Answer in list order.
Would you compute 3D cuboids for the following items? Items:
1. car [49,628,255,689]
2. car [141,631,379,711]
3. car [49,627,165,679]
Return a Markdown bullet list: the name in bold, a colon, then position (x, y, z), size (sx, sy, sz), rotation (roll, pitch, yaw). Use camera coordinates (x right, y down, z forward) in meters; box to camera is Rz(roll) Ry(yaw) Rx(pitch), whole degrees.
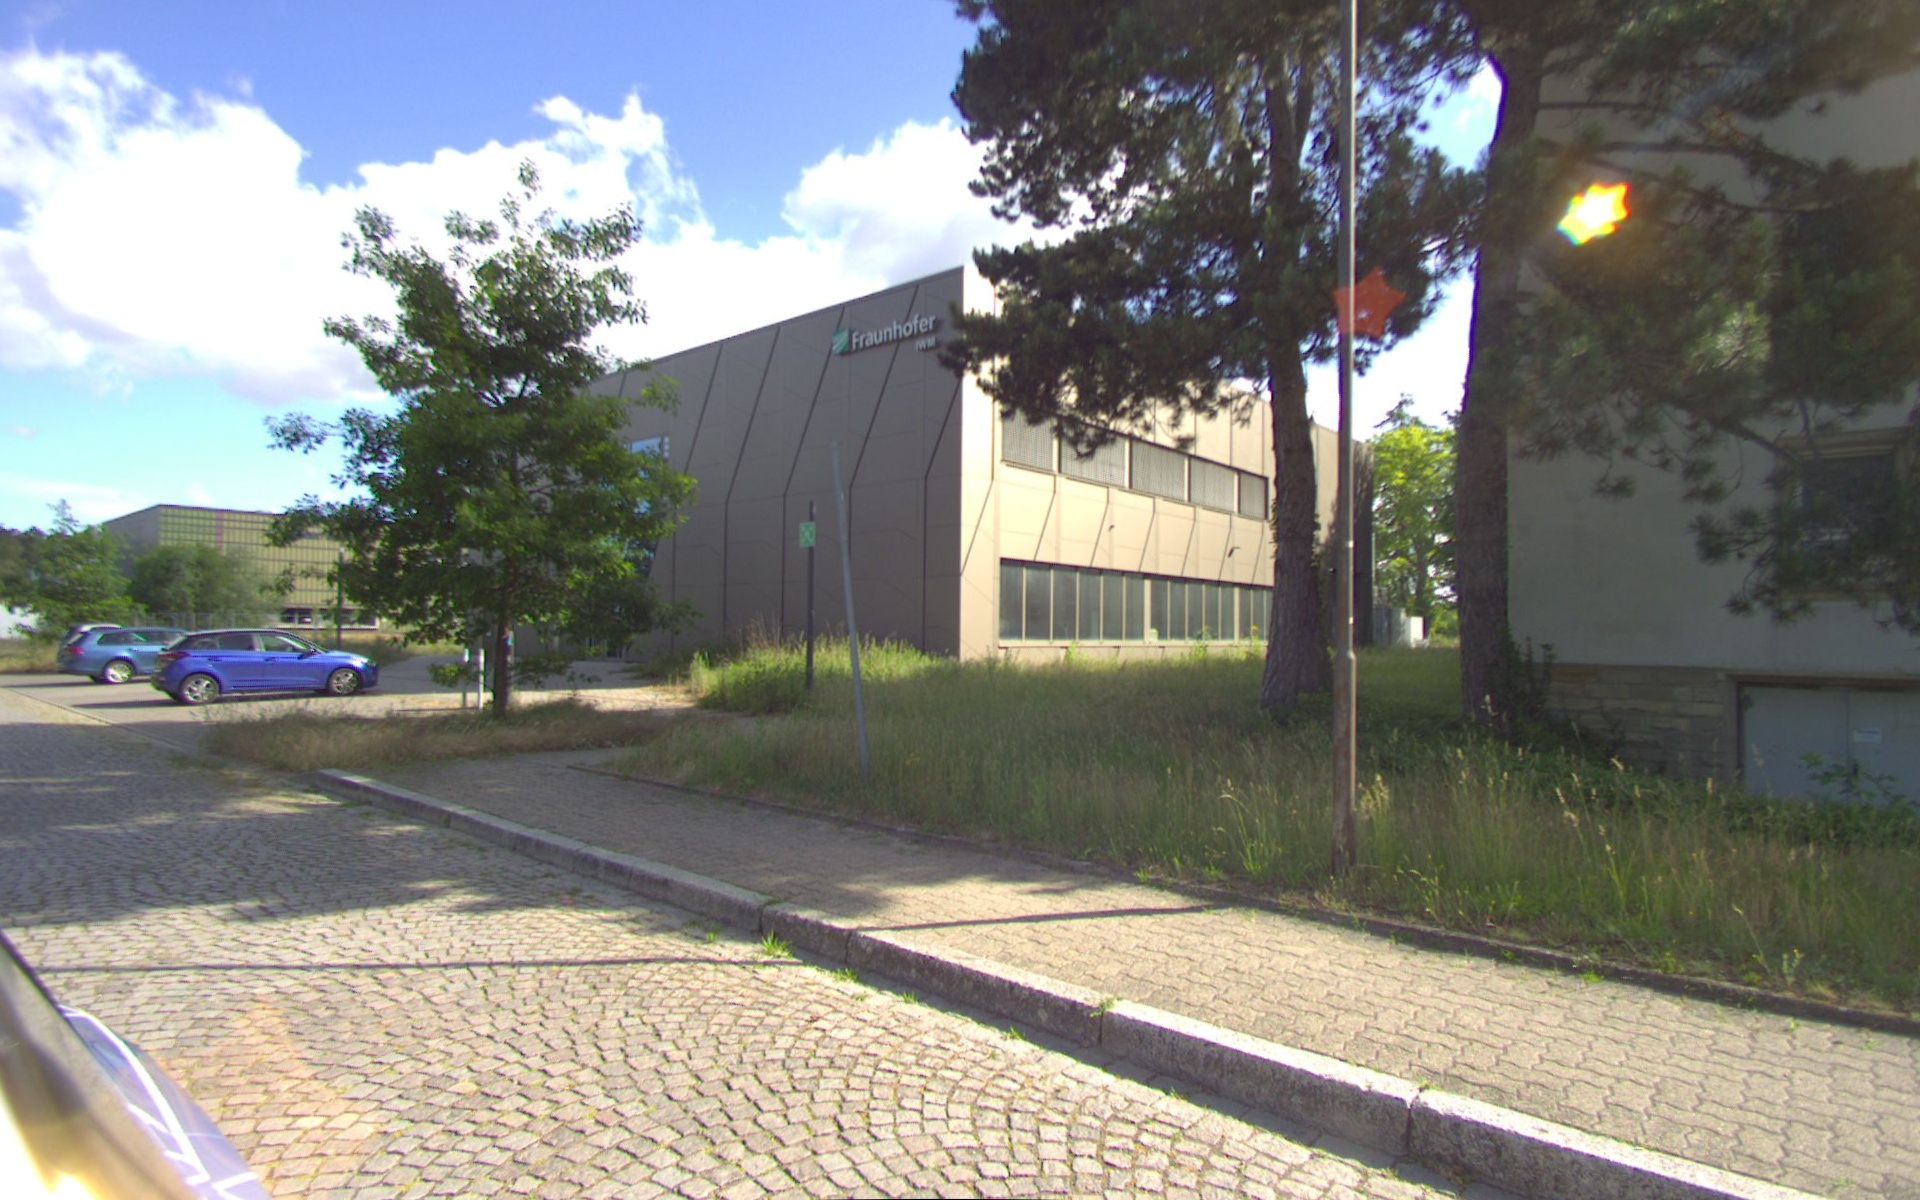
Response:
- **car**: position (-21.939, 1.542, 27.618), size (1.732, 1.485, 4.128), rotation (-1, -1, 38)
- **car**: position (-14.734, 1.414, 21.439), size (1.735, 1.479, 3.866), rotation (-1, -2, 43)
- **car**: position (-27.393, 1.657, 32.538), size (1.480, 1.580, 2.619), rotation (-1, -2, 39)
